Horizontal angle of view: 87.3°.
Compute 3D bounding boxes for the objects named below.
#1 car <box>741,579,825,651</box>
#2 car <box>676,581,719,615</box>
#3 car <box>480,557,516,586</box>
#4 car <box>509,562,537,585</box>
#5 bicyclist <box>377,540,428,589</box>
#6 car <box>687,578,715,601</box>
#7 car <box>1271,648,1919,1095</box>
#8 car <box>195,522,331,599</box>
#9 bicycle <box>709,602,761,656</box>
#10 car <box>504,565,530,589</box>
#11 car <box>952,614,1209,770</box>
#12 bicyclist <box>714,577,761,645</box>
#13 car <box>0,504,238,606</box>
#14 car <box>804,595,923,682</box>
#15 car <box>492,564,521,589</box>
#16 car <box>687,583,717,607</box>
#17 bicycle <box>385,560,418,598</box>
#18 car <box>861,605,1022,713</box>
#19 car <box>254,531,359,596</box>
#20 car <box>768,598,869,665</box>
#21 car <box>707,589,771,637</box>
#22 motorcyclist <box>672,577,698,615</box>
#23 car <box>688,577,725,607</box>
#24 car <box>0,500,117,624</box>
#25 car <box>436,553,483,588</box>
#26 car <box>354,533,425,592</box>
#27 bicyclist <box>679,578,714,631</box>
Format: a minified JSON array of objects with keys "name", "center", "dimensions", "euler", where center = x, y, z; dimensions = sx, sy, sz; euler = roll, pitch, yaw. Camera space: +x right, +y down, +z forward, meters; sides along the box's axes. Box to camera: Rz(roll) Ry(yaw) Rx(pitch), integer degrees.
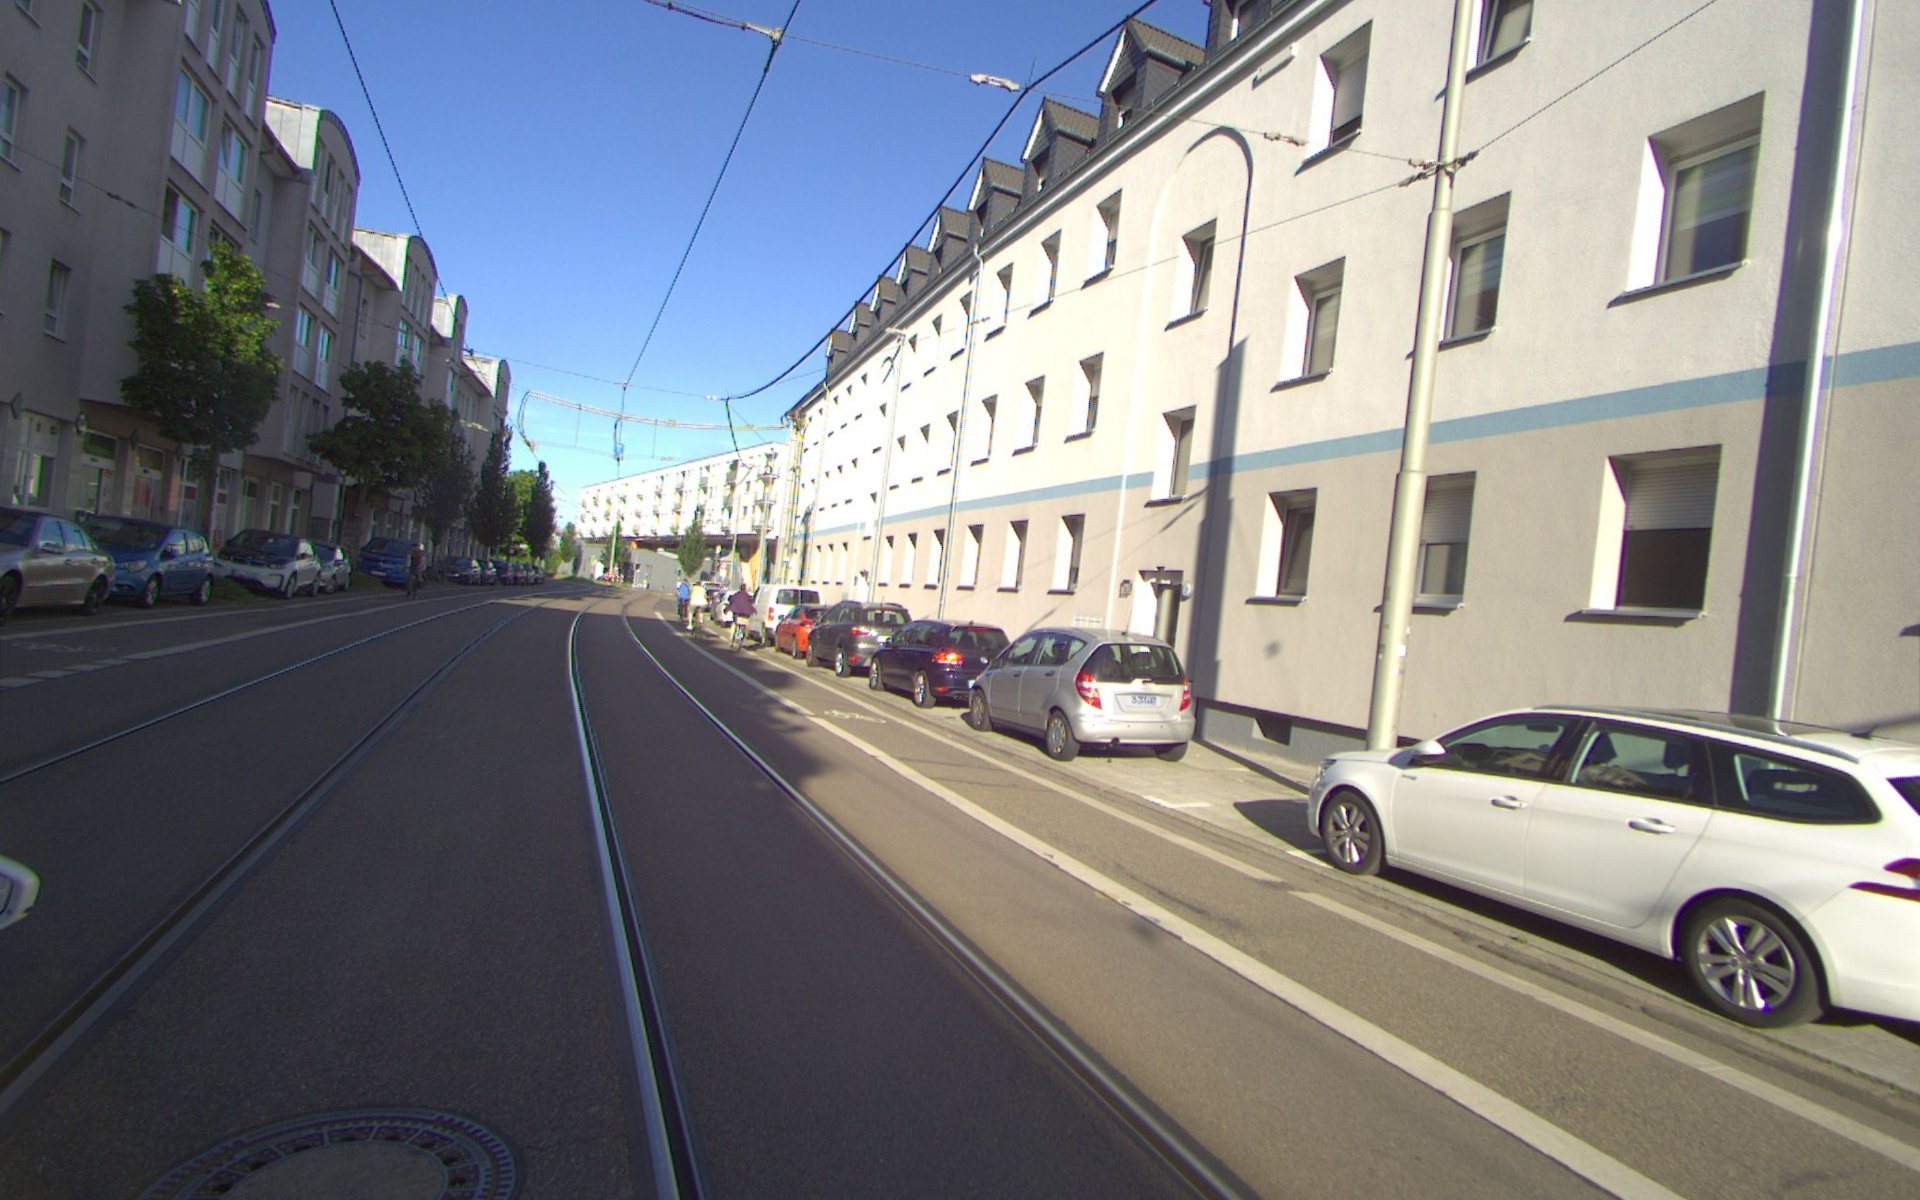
[{"name":"car","center":[-5.745,0.431,32.282],"dimensions":[1.767,1.995,4.134],"euler":[5,0,-21]},{"name":"car","center":[-15.346,-0.119,58.759],"dimensions":[1.825,1.666,3.946],"euler":[7,-1,-21]},{"name":"car","center":[-31.417,-1.946,68.551],"dimensions":[1.825,1.666,4.526],"euler":[7,-1,-21]},{"name":"car","center":[-35.569,-2.162,81.997],"dimensions":[1.825,1.666,3.679],"euler":[7,-1,-21]},{"name":"bicyclist","center":[-17.226,-1.104,31.124],"dimensions":[1.172,1.347,1.088],"euler":[7,0,-25]},{"name":"car","center":[-21.941,-0.913,85.040],"dimensions":[1.823,1.666,4.330],"euler":[7,-1,-19]},{"name":"car","center":[4.195,1.330,6.373],"dimensions":[1.662,1.591,4.486],"euler":[5,0,-22]},{"name":"car","center":[-17.912,-0.996,26.082],"dimensions":[1.810,1.613,3.982],"euler":[7,-1,-20]},{"name":"bicycle","center":[-6.166,0.769,27.437],"dimensions":[0.813,1.251,2.449],"euler":[8,-2,-23]},{"name":"car","center":[-33.497,-1.728,76.115],"dimensions":[1.575,1.559,3.175],"euler":[7,-1,-21]},{"name":"car","center":[1.425,1.120,13.489],"dimensions":[1.734,1.591,3.885],"euler":[3,1,-21]},{"name":"bicyclist","center":[-6.064,0.287,27.385],"dimensions":[0.925,1.697,0.964],"euler":[7,0,-23]},{"name":"car","center":[-15.218,-0.779,18.510],"dimensions":[1.807,1.508,3.986],"euler":[5,0,-16]},{"name":"car","center":[-2.316,0.819,23.093],"dimensions":[1.641,1.691,3.885],"euler":[3,1,-21]},{"name":"car","center":[-32.503,-1.706,72.149],"dimensions":[1.575,1.559,3.175],"euler":[7,-1,-21]},{"name":"car","center":[-20.642,-0.442,80.392],"dimensions":[1.823,1.666,4.196],"euler":[7,-1,-19]},{"name":"bicycle","center":[-17.313,-0.661,31.218],"dimensions":[0.616,1.115,1.950],"euler":[5,0,-23]},{"name":"car","center":[-0.462,0.987,18.255],"dimensions":[1.574,1.557,3.988],"euler":[5,0,-21]},{"name":"car","center":[-19.631,-1.094,30.387],"dimensions":[1.811,1.613,3.979],"euler":[7,-1,-23]},{"name":"car","center":[-3.941,0.816,27.493],"dimensions":[1.777,1.501,3.761],"euler":[7,-2,-21]},{"name":"car","center":[-9.501,0.495,42.922],"dimensions":[1.825,1.666,4.526],"euler":[7,-1,-21]},{"name":"motorcyclist","center":[-11.129,-0.170,40.715],"dimensions":[0.720,1.423,1.015],"euler":[7,0,-23]},{"name":"car","center":[-17.689,-0.550,70.047],"dimensions":[1.825,1.777,4.526],"euler":[7,-1,-21]},{"name":"car","center":[-12.917,-0.594,13.067],"dimensions":[1.728,1.459,3.979],"euler":[9,-1,-23]},{"name":"car","center":[-27.011,-1.579,54.398],"dimensions":[1.647,1.637,3.982],"euler":[7,-1,-20]},{"name":"car","center":[-22.363,-1.448,39.586],"dimensions":[1.647,2.011,4.322],"euler":[7,-1,-21]},{"name":"bicyclist","center":[-7.879,0.128,30.068],"dimensions":[0.720,1.480,1.015],"euler":[7,0,-23]}]
